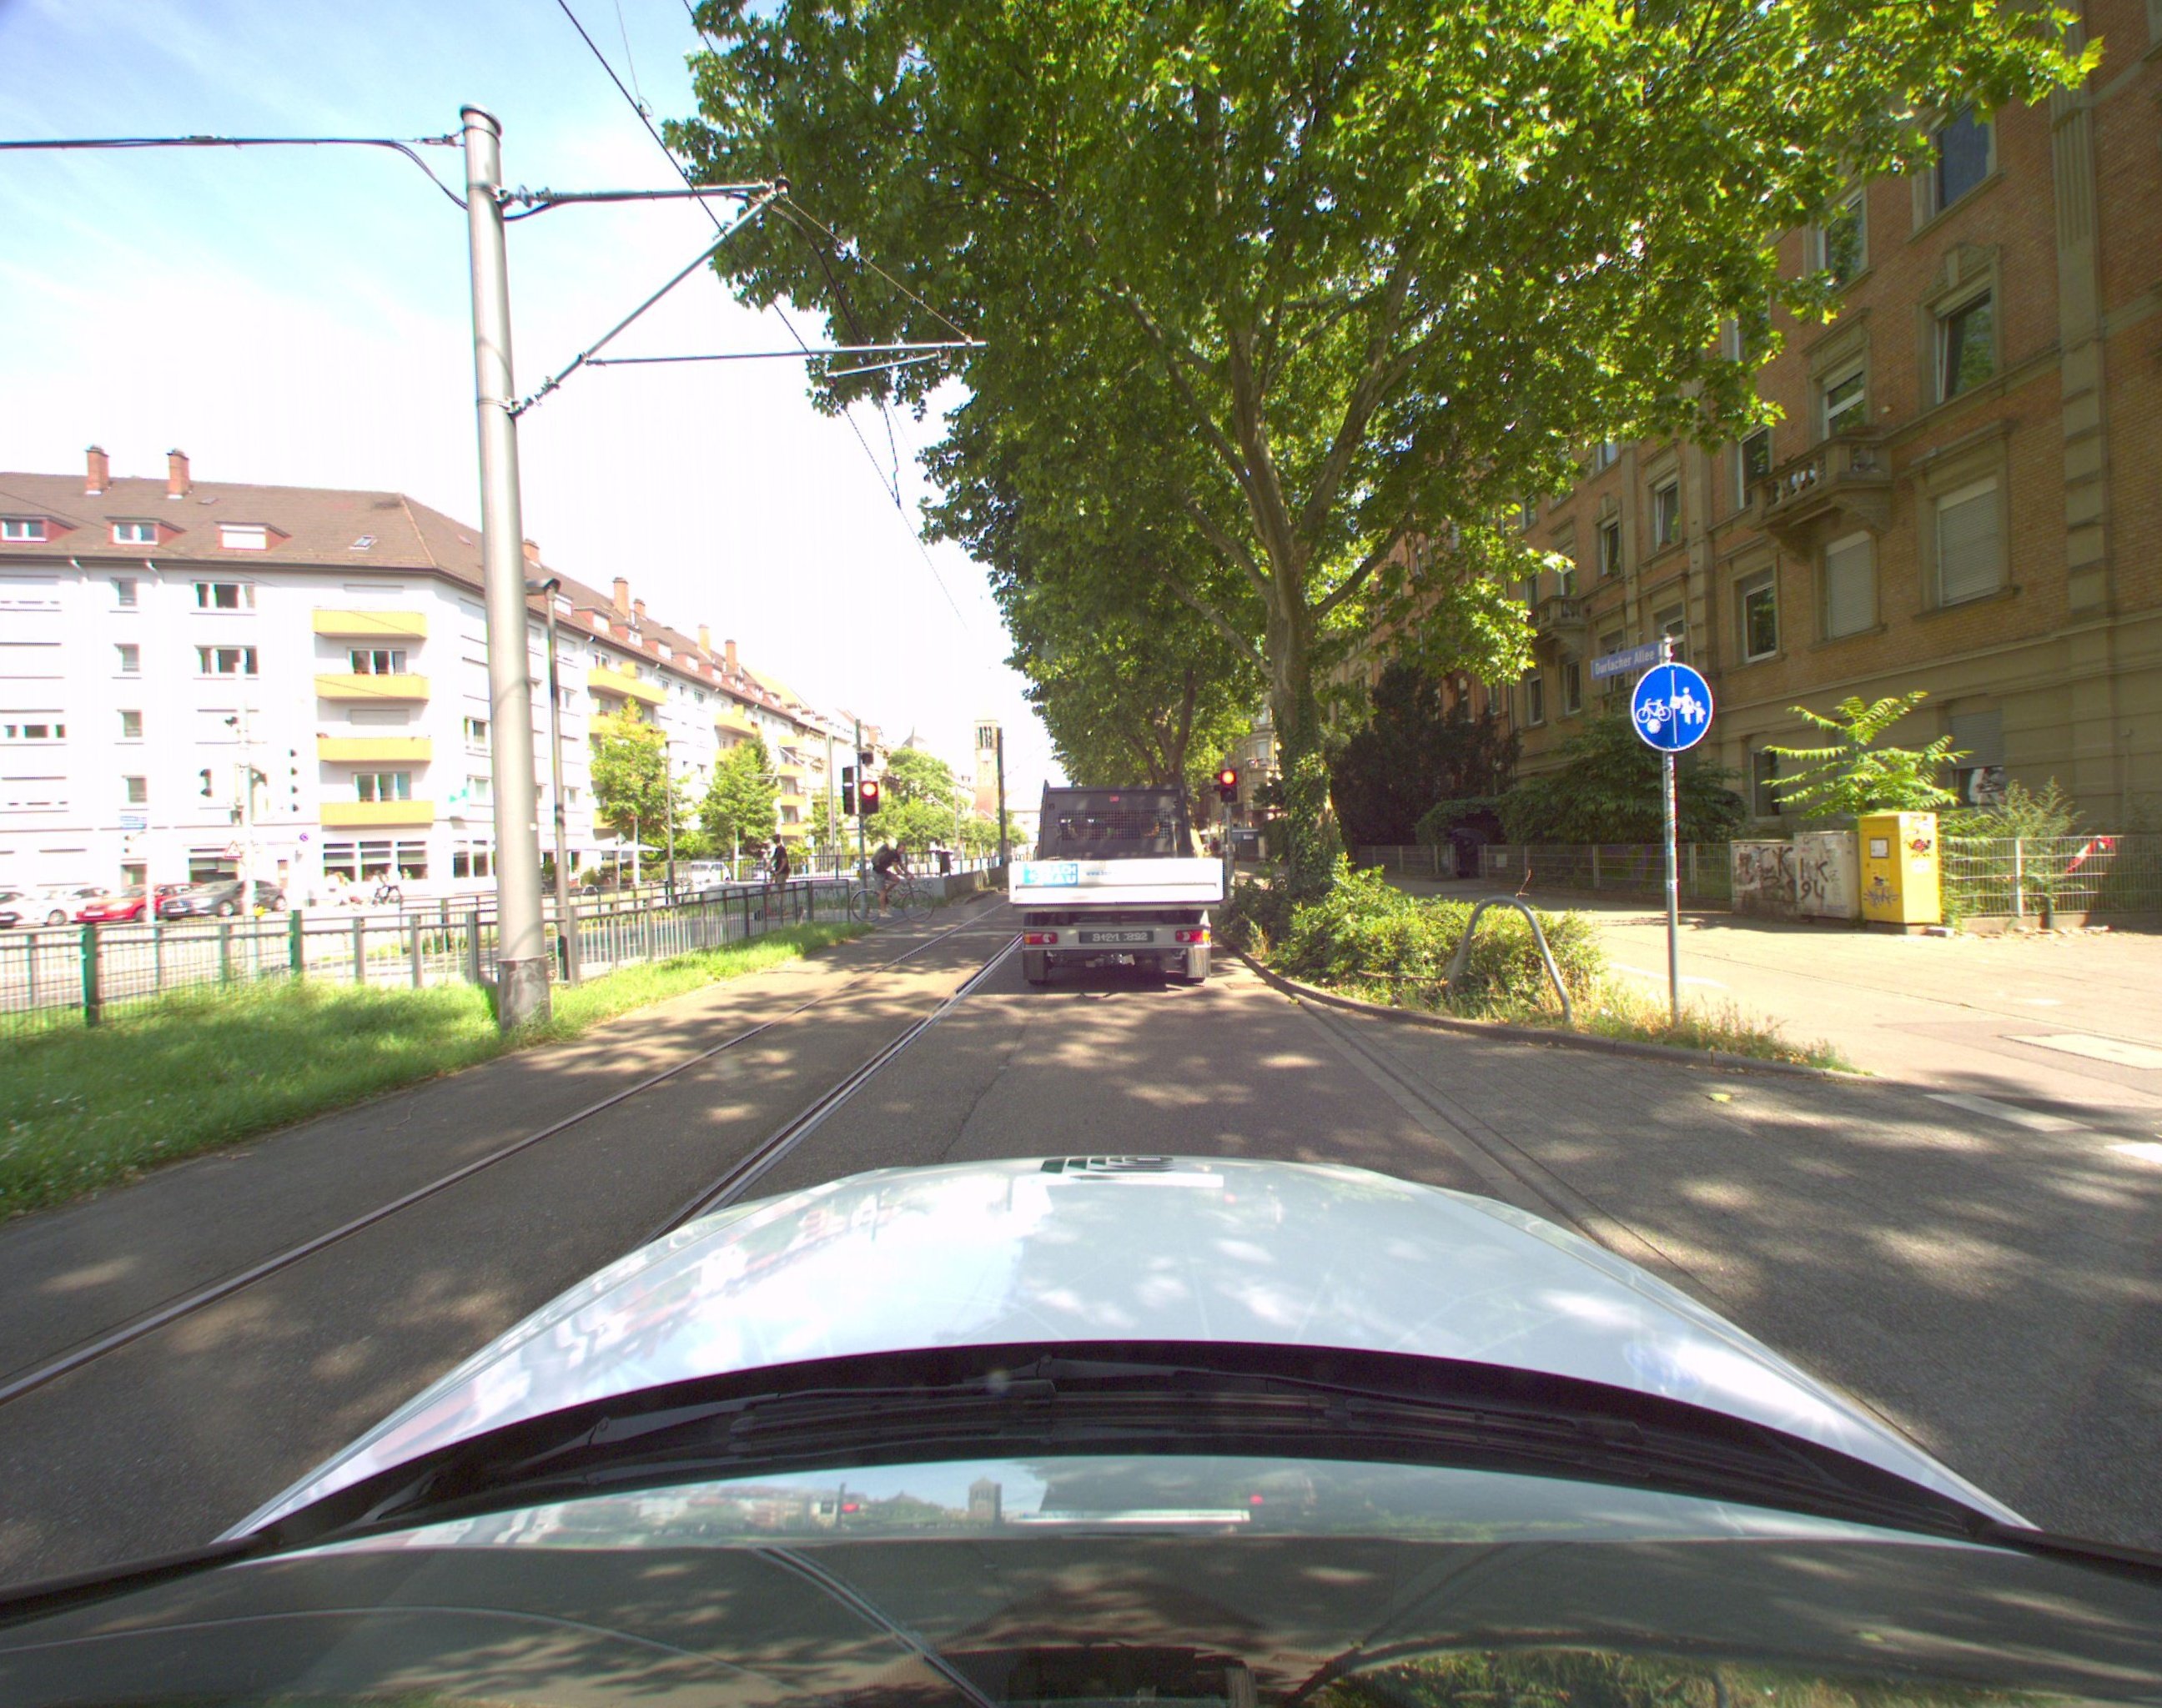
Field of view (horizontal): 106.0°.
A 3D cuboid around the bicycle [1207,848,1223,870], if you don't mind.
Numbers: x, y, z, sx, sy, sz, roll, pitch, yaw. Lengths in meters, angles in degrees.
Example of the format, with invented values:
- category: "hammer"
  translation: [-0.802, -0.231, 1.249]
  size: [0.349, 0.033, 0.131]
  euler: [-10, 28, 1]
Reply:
- category: "bicycle"
  translation: [7.033, 0.254, 42.731]
  size: [0.563, 1.112, 2.312]
  euler: [-2, 0, 3]

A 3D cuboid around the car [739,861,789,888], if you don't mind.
- category: "car"
  translation: [-20.318, 1.309, 52.358]
  size: [1.767, 1.498, 3.994]
  euler: [-4, 0, -4]

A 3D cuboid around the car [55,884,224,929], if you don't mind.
- category: "car"
  translation: [-36.490, 1.983, 31.762]
  size: [1.930, 1.406, 4.158]
  euler: [-2, 0, -6]

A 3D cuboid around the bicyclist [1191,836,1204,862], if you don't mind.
- category: "bicyclist"
  translation: [7.022, -0.317, 49.185]
  size: [0.678, 1.563, 0.777]
  euler: [-2, 0, 3]

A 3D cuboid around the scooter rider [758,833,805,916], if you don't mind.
- category: "scooter rider"
  translation: [-6.874, 0.457, 18.704]
  size: [0.657, 1.867, 0.672]
  euler: [-2, 0, 16]

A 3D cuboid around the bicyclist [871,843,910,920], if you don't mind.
- category: "bicyclist"
  translation: [-4.058, 0.573, 17.379]
  size: [0.691, 1.623, 0.624]
  euler: [0, 0, -2]

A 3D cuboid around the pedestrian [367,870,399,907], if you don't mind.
- category: "pedestrian"
  translation: [-30.987, 1.538, 36.158]
  size: [0.861, 1.572, 0.685]
  euler: [-2, 0, -22]

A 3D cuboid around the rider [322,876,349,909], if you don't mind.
- category: "rider"
  translation: [-33.140, 1.699, 36.202]
  size: [0.624, 1.423, 0.587]
  euler: [-2, 0, -15]

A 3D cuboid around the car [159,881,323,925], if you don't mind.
- category: "car"
  translation: [-33.132, 1.868, 32.336]
  size: [1.830, 1.376, 4.637]
  euler: [-2, 0, -4]

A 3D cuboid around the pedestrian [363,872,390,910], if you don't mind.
- category: "pedestrian"
  translation: [-30.762, 1.605, 35.564]
  size: [0.690, 1.572, 0.542]
  euler: [-2, 0, -22]

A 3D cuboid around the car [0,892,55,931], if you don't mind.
- category: "car"
  translation: [-41.827, 2.265, 30.388]
  size: [1.930, 1.406, 4.158]
  euler: [-2, 0, -6]

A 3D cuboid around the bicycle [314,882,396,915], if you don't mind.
- category: "bicycle"
  translation: [-30.069, 1.817, 33.802]
  size: [0.908, 1.137, 2.807]
  euler: [-2, 0, -1]

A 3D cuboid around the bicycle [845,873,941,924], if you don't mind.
- category: "bicycle"
  translation: [-3.987, 0.933, 17.375]
  size: [1.914, 1.049, 0.532]
  euler: [0, 0, -2]

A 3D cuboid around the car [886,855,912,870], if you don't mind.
- category: "car"
  translation: [-19.458, 0.889, 87.370]
  size: [1.764, 1.498, 4.000]
  euler: [-2, 0, 0]

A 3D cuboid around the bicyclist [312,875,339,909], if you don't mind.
- category: "bicyclist"
  translation: [-33.021, 1.659, 35.617]
  size: [0.624, 1.423, 0.587]
  euler: [-2, 0, -15]

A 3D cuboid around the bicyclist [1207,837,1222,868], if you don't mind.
- category: "bicyclist"
  translation: [7.010, -0.093, 42.710]
  size: [0.635, 1.573, 0.580]
  euler: [-2, 0, 3]

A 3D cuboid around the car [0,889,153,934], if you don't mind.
- category: "car"
  translation: [-39.273, 2.184, 31.593]
  size: [1.930, 1.406, 4.158]
  euler: [-2, 0, -6]

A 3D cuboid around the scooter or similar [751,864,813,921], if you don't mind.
- category: "scooter or similar"
  translation: [-6.855, 0.863, 18.717]
  size: [0.650, 1.204, 1.276]
  euler: [-2, 0, 17]

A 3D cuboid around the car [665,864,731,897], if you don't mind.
- category: "car"
  translation: [-20.510, 1.365, 43.779]
  size: [1.767, 1.498, 3.994]
  euler: [-4, 0, -4]

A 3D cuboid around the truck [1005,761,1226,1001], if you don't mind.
- category: "truck"
  translation: [0.437, 0.247, 10.112]
  size: [2.130, 2.319, 4.405]
  euler: [0, 0, 3]

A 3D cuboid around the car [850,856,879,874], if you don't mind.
- category: "car"
  translation: [-19.599, 0.972, 73.999]
  size: [1.767, 1.498, 3.994]
  euler: [-2, 0, -4]

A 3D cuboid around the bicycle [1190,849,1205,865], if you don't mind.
- category: "bicycle"
  translation: [7.047, 0.169, 49.329]
  size: [0.672, 0.881, 2.165]
  euler: [-2, 0, 3]
